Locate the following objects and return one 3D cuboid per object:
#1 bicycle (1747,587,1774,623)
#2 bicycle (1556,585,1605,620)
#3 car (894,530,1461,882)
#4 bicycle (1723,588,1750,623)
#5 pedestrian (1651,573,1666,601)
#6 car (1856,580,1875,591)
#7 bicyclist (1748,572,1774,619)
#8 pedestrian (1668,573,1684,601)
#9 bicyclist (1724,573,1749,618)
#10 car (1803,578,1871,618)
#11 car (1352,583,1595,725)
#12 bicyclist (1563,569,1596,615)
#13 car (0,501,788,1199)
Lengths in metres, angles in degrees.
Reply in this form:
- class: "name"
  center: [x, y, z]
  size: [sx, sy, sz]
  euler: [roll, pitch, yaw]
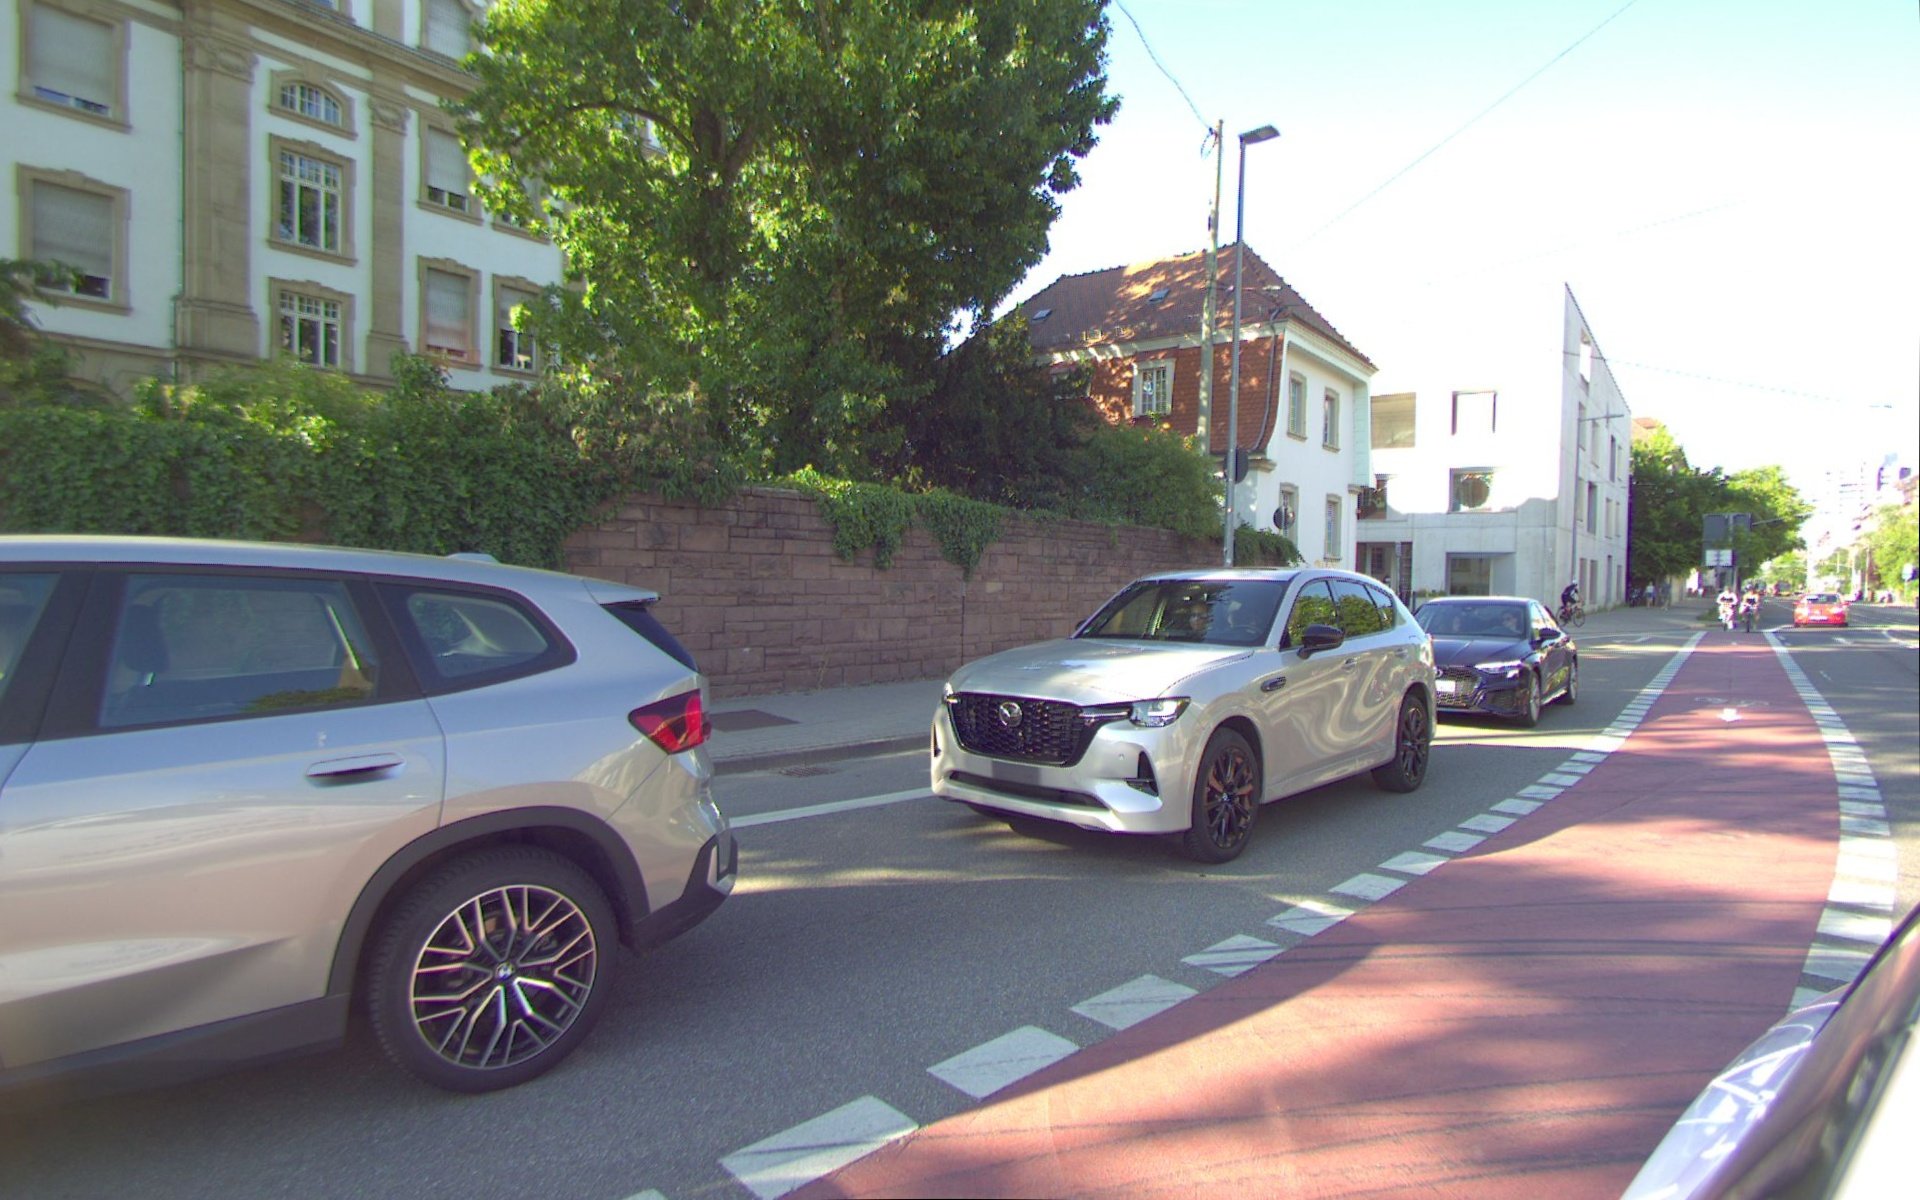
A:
- class: "bicycle"
  center: [29.163, 0.156, 36.863]
  size: [0.673, 1.265, 2.421]
  euler: [2, 2, 40]
- class: "bicycle"
  center: [23.208, 0.070, 37.851]
  size: [2.411, 1.266, 0.676]
  euler: [0, 2, -37]
- class: "car"
  center: [1.815, 0.491, 7.230]
  size: [1.940, 1.713, 4.460]
  euler: [0, 1, 44]
- class: "bicycle"
  center: [29.538, 0.194, 38.497]
  size: [0.673, 1.265, 2.421]
  euler: [2, 2, 40]
- class: "pedestrian"
  center: [41.652, -0.798, 60.342]
  size: [0.673, 1.668, 0.806]
  euler: [1, 1, 40]
- class: "car"
  center: [135.038, -2.108, 150.938]
  size: [1.640, 1.580, 3.602]
  euler: [0, 0, 36]
- class: "bicyclist"
  center: [29.134, -0.170, 36.816]
  size: [0.673, 1.667, 1.014]
  euler: [2, 2, 40]
- class: "pedestrian"
  center: [42.292, -0.777, 59.782]
  size: [0.673, 1.668, 0.806]
  euler: [1, 1, 40]
- class: "bicyclist"
  center: [29.512, -0.196, 38.447]
  size: [0.673, 1.667, 1.014]
  euler: [2, 2, 40]
- class: "car"
  center: [36.499, -0.090, 42.106]
  size: [3.586, 1.580, 1.647]
  euler: [-1, 0, -41]
- class: "car"
  center: [6.417, 0.526, 12.441]
  size: [1.782, 1.451, 3.941]
  euler: [0, 1, 41]
- class: "bicyclist"
  center: [23.136, -0.294, 37.782]
  size: [1.010, 1.667, 0.676]
  euler: [0, 2, -36]
- class: "car"
  center: [-2.827, 0.577, 2.960]
  size: [4.248, 1.614, 1.792]
  euler: [0, 0, -36]
